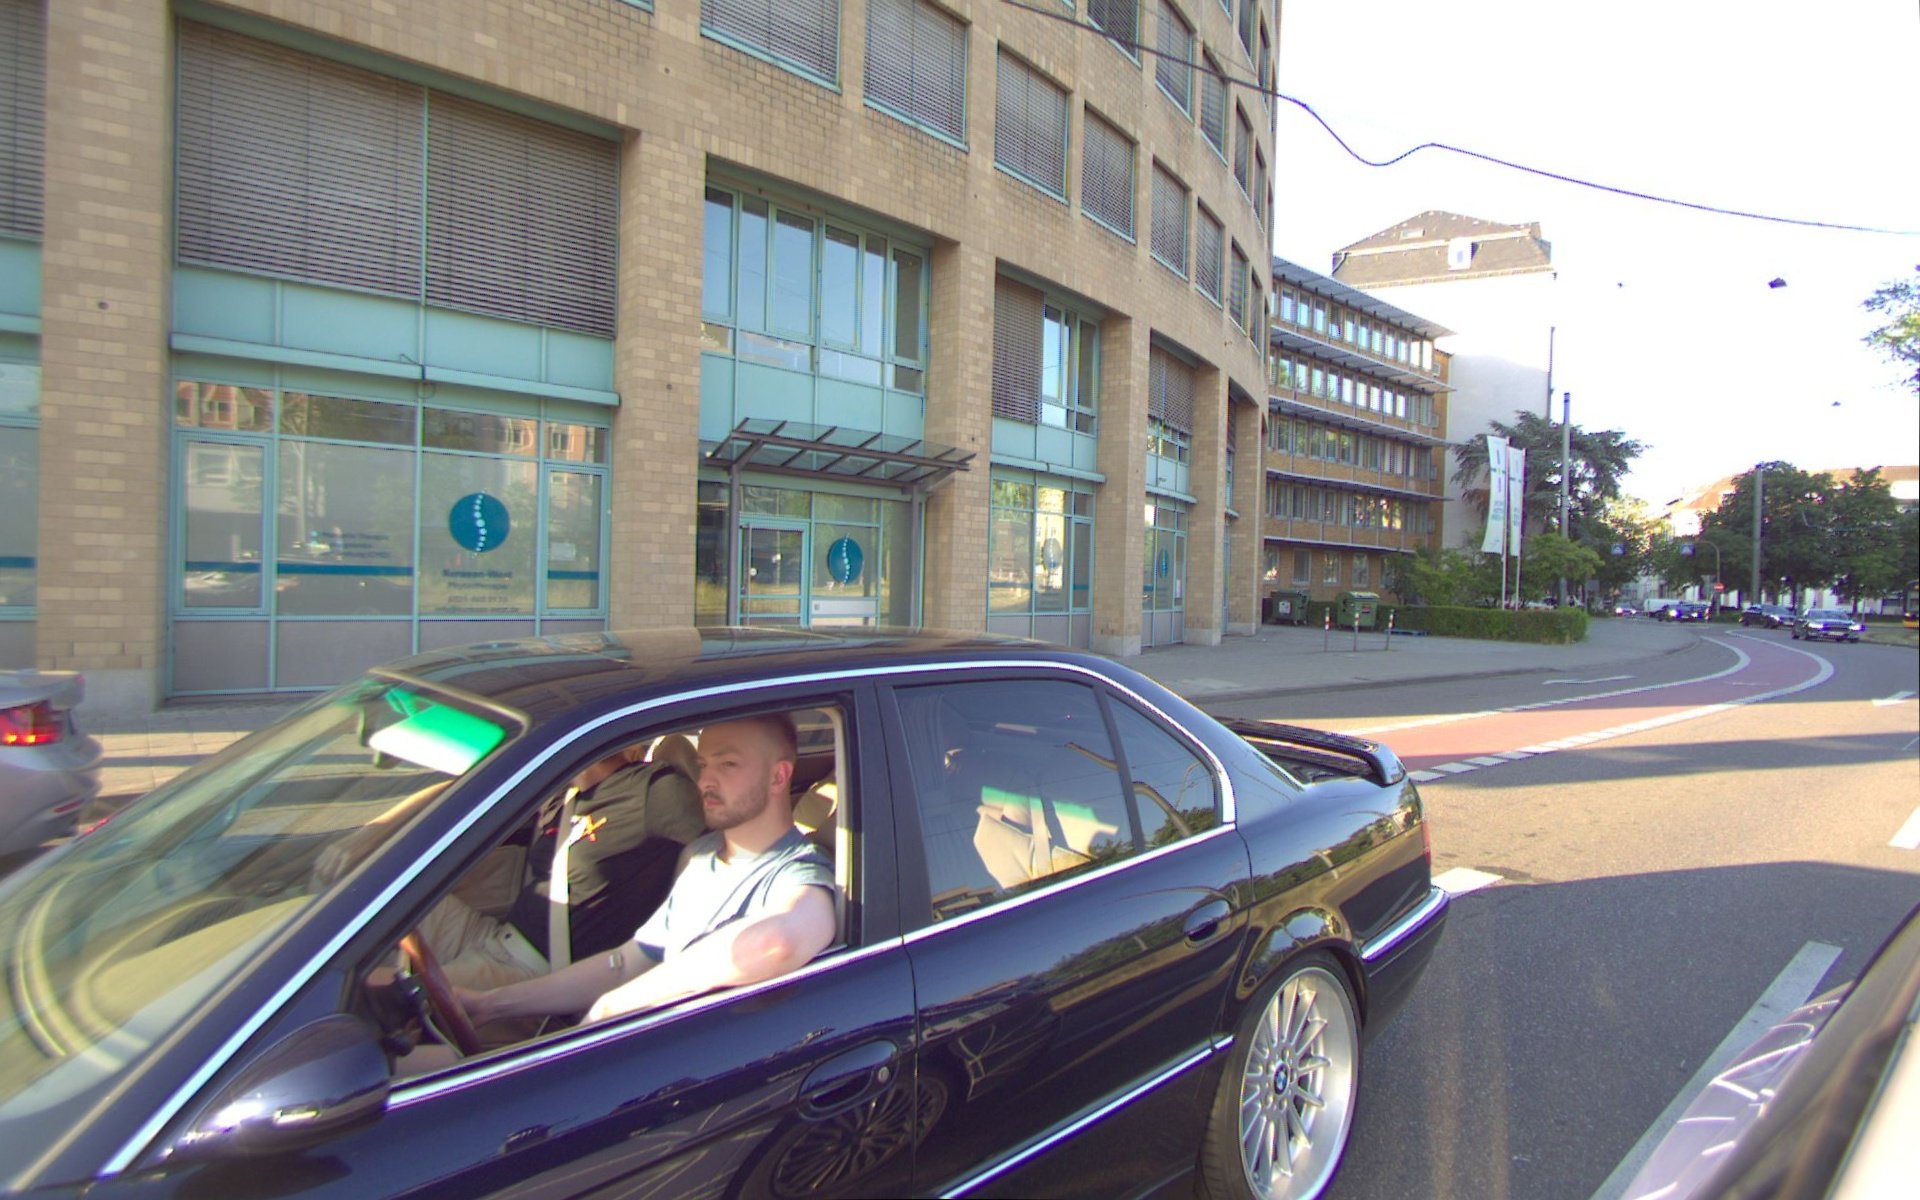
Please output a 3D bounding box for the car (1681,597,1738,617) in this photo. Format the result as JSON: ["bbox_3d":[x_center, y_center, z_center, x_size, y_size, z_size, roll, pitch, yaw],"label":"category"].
[{"bbox_3d":[69.272,0.653,93.567,4.055,1.638,1.969,3,1,43],"label":"car"}]

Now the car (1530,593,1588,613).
[{"bbox_3d":[53.901,0.294,91.179,4.361,1.577,1.819,3,1,29],"label":"car"}]

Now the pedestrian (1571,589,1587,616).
[{"bbox_3d":[43.267,0.179,70.765,0.805,1.814,0.593,2,0,-30],"label":"pedestrian"}]

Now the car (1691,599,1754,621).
[{"bbox_3d":[63.778,0.842,84.688,4.055,1.576,1.837,3,1,43],"label":"car"}]

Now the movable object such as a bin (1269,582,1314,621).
[{"bbox_3d":[12.789,0.066,39.067,1.340,1.442,0.910,3,0,42],"label":"movable object such as a bin"}]

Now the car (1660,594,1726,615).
[{"bbox_3d":[75.512,0.439,104.331,2.083,1.926,5.078,2,1,-39],"label":"car"}]

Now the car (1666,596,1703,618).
[{"bbox_3d":[54.873,0.536,76.706,1.805,1.501,4.092,3,1,29],"label":"car"}]

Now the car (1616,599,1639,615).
[{"bbox_3d":[66.722,0.679,101.105,1.809,1.501,4.084,2,0,34],"label":"car"}]

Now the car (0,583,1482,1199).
[{"bbox_3d":[-0.779,0.679,2.136,4.560,1.371,1.833,1,0,-42],"label":"car"}]

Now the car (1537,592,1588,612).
[{"bbox_3d":[56.661,0.187,95.273,4.035,1.589,1.818,3,1,30],"label":"car"}]

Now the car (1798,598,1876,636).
[{"bbox_3d":[38.859,0.738,44.940,1.806,1.501,4.090,3,1,30],"label":"car"}]

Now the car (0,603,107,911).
[{"bbox_3d":[-6.266,0.691,4.153,4.192,1.371,1.786,1,0,-41],"label":"car"}]

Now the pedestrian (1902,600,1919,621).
[{"bbox_3d":[82.604,0.927,87.934,0.769,1.737,0.771,2,0,-11],"label":"pedestrian"}]

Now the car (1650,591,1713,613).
[{"bbox_3d":[76.809,0.215,107.840,1.932,2.047,5.078,2,1,-39],"label":"car"}]

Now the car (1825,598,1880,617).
[{"bbox_3d":[92.055,0.763,104.416,1.672,1.746,4.007,2,1,-42],"label":"car"}]

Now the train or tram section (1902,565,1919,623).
[{"bbox_3d":[66.687,-0.293,65.756,13.088,3.629,2.956,1,1,-23],"label":"train or tram section"}]

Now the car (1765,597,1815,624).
[{"bbox_3d":[50.153,0.634,61.228,1.808,1.501,4.087,3,1,32],"label":"car"}]

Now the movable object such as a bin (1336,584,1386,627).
[{"bbox_3d":[14.490,0.198,36.550,1.317,1.456,0.976,2,0,-22],"label":"movable object such as a bin"}]

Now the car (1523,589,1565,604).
[{"bbox_3d":[71.542,-0.454,124.031,4.357,1.633,1.713,3,1,27],"label":"car"}]
